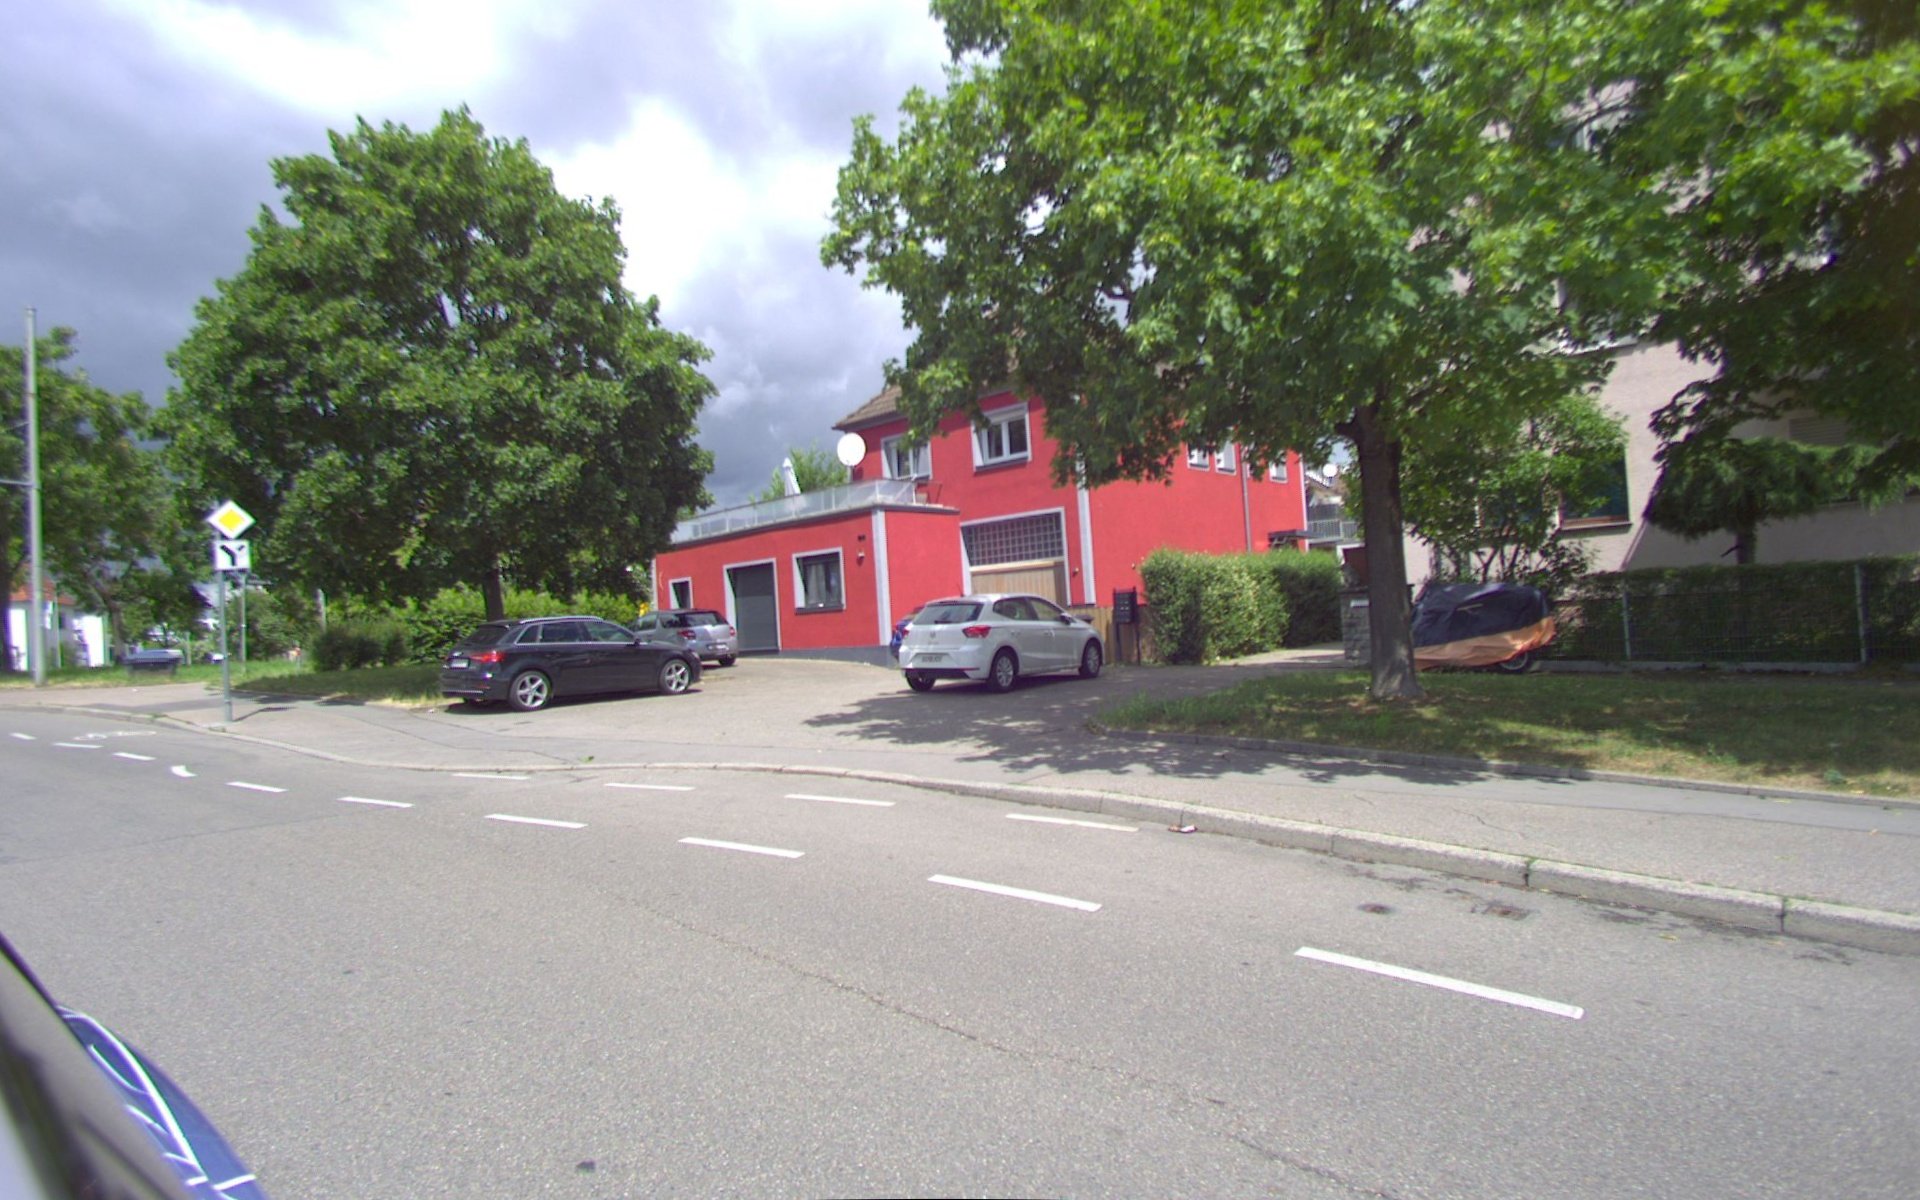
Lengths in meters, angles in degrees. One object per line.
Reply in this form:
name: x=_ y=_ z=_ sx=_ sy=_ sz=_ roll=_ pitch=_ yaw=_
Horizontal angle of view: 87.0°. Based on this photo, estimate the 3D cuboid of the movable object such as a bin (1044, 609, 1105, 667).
movable object such as a bin: x=2.242 y=0.733 z=19.827 sx=0.881 sy=1.069 sz=0.747 roll=-2 pitch=1 yaw=44

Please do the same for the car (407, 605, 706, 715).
car: x=-6.508 y=0.895 z=16.676 sx=1.999 sy=1.404 sz=4.089 roll=-3 pitch=1 yaw=40

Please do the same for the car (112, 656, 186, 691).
car: x=-48.737 y=4.376 z=60.907 sx=2.194 sy=1.821 sz=4.415 roll=-3 pitch=-1 yaw=-21

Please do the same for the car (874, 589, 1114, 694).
car: x=0.656 y=0.574 z=15.848 sx=1.873 sy=1.414 sz=3.884 roll=-2 pitch=-1 yaw=36

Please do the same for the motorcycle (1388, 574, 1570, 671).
motorcycle: x=7.657 y=0.330 z=14.998 sx=2.233 sy=1.325 sz=0.908 roll=-2 pitch=1 yaw=39

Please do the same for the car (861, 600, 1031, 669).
car: x=-0.247 y=0.759 z=23.026 sx=1.842 sy=1.388 sz=3.763 roll=-3 pitch=-2 yaw=40

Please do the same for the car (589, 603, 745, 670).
car: x=-7.220 y=0.898 z=24.783 sx=4.074 sy=1.436 sz=1.624 roll=-3 pitch=0 yaw=40
